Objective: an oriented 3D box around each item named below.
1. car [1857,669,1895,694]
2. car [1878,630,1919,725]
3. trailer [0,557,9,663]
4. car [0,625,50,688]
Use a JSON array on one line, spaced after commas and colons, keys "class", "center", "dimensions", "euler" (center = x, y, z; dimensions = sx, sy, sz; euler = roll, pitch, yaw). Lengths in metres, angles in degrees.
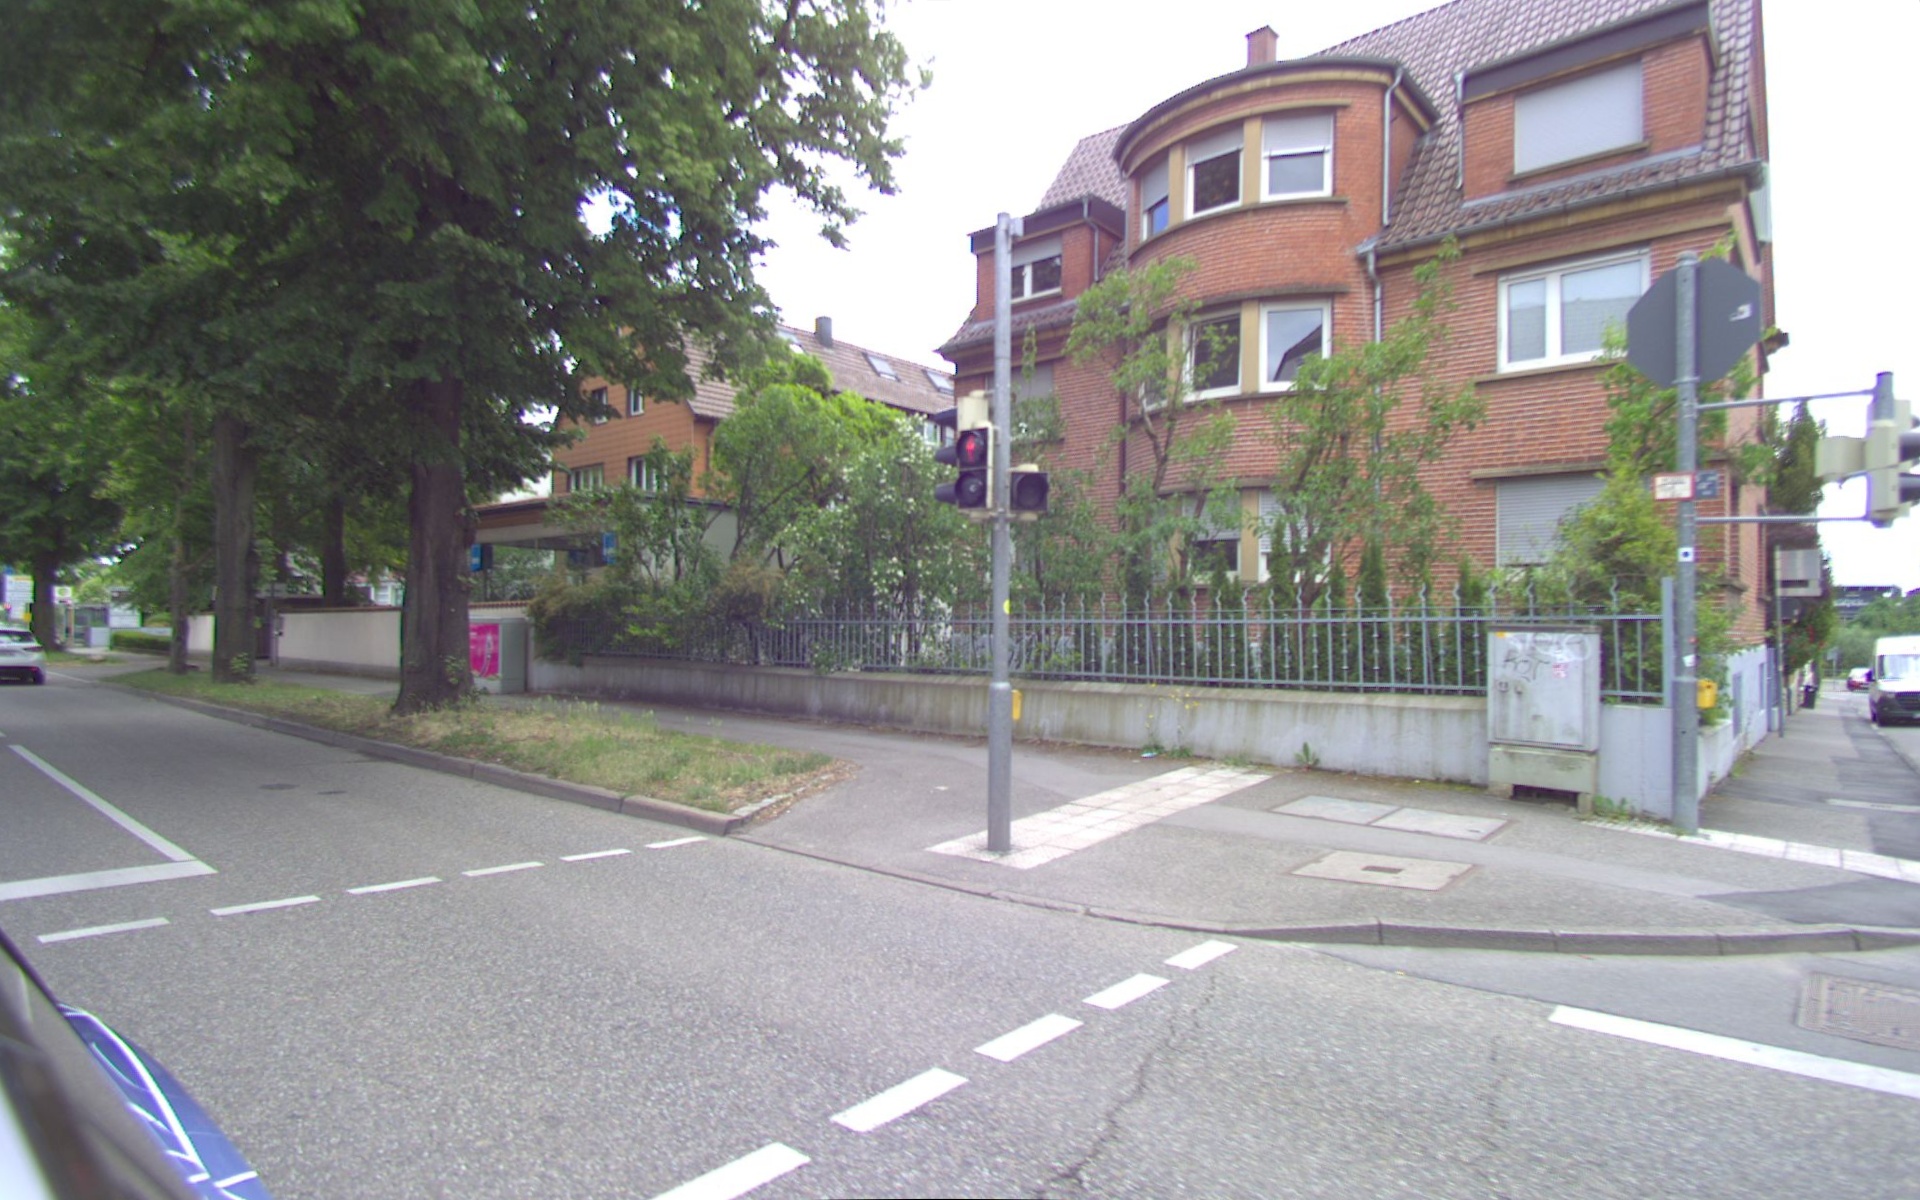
[{"class": "car", "center": [67.355, 5.978, 74.441], "dimensions": [1.999, 1.519, 3.944], "euler": [-1, -1, 42]}, {"class": "car", "center": [27.944, 2.270, 29.256], "dimensions": [2.040, 2.529, 5.907], "euler": [-1, -4, 42]}, {"class": "trailer", "center": [-40.973, 0.407, 40.654], "dimensions": [14.387, 3.837, 2.828], "euler": [-1, -1, 42]}, {"class": "car", "center": [-24.653, 1.372, 25.717], "dimensions": [4.226, 1.481, 1.748], "euler": [-1, -5, 42]}]
